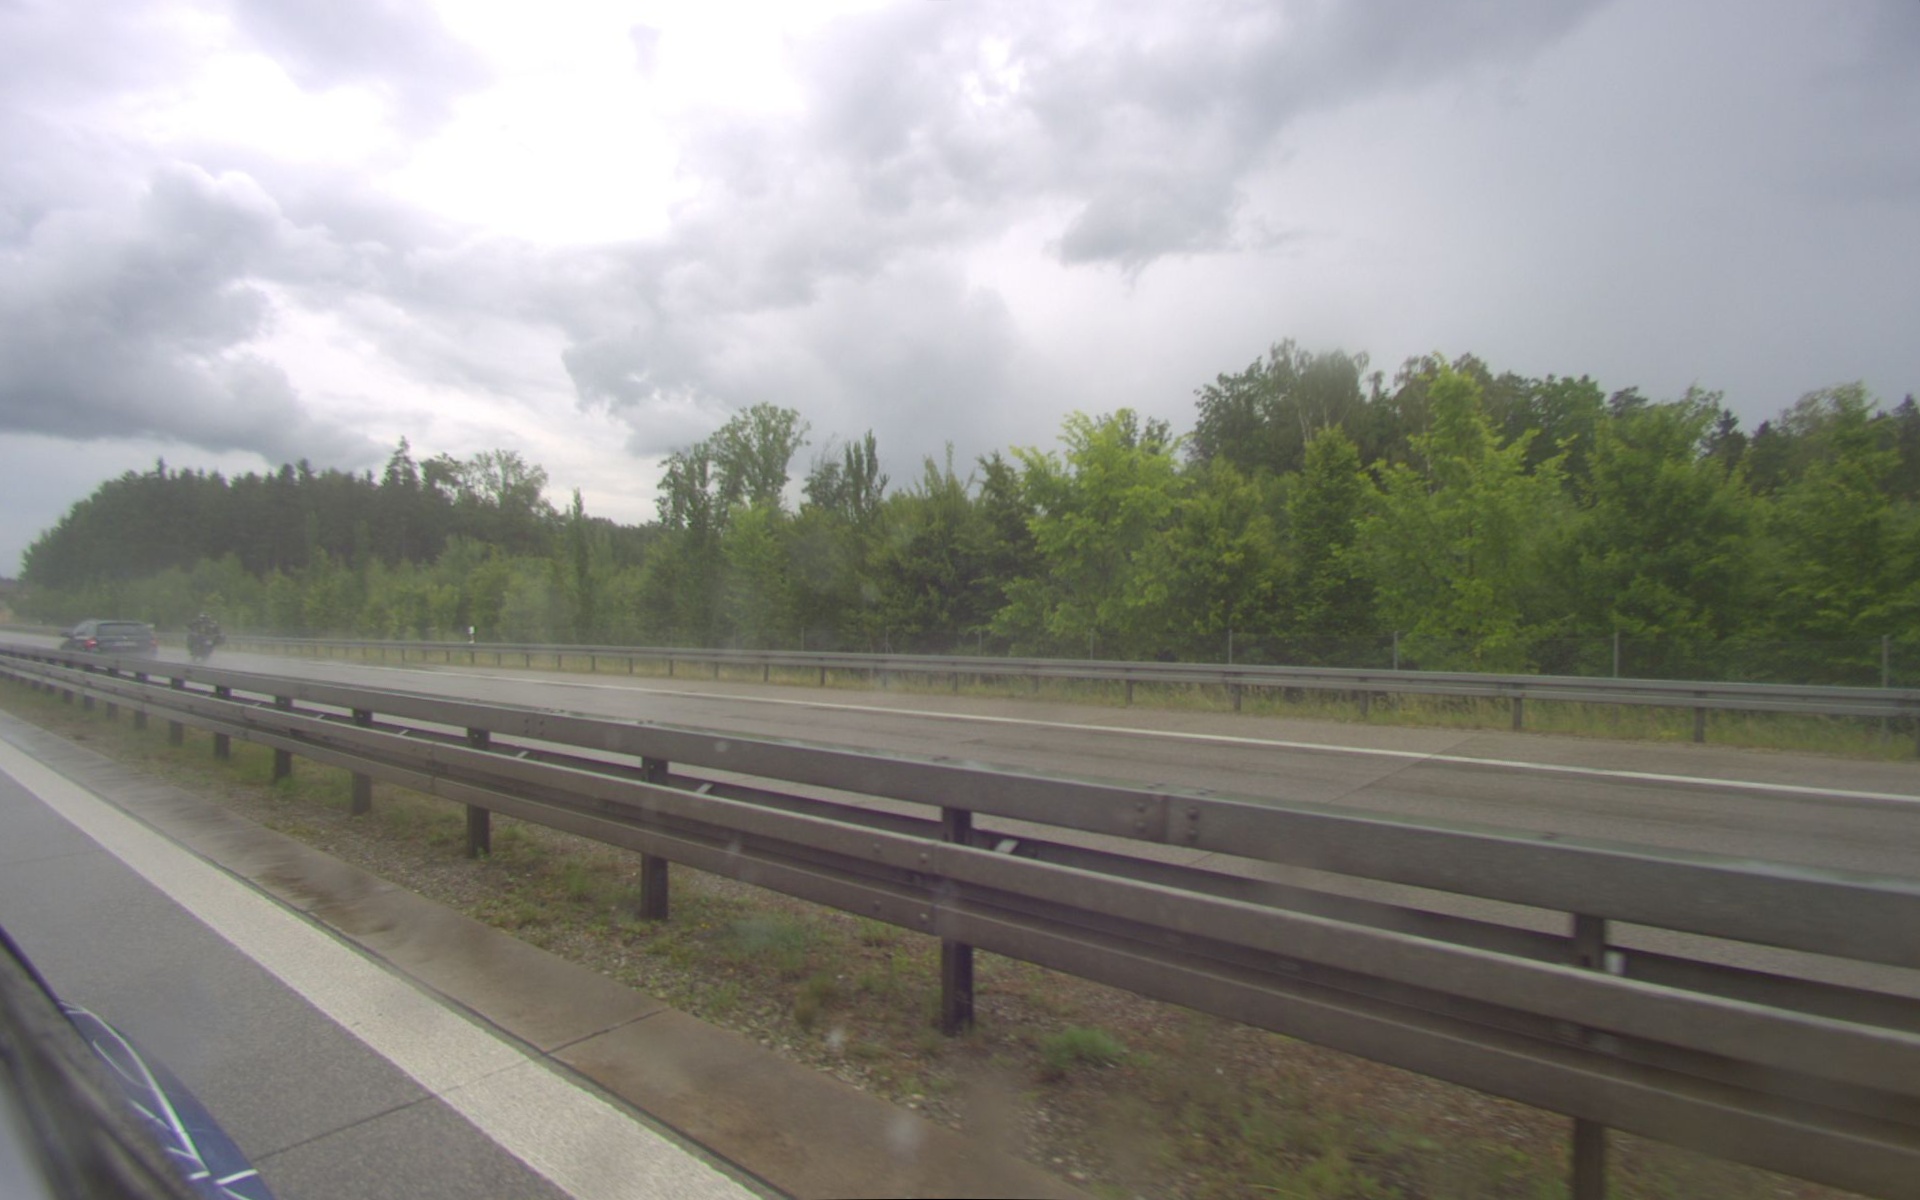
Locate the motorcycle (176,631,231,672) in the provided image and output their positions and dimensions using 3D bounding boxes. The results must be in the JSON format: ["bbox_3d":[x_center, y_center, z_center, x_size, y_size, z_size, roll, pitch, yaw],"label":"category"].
[{"bbox_3d":[-26.671,1.787,35.683,2.412,1.400,1.062,-1,-2,41],"label":"motorcycle"}]

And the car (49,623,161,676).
[{"bbox_3d":[-24.767,1.395,29.264,4.603,1.429,1.749,-1,-2,41],"label":"car"}]

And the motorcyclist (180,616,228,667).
[{"bbox_3d":[-26.649,1.442,35.670,1.444,1.770,1.056,-1,-2,41],"label":"motorcyclist"}]
